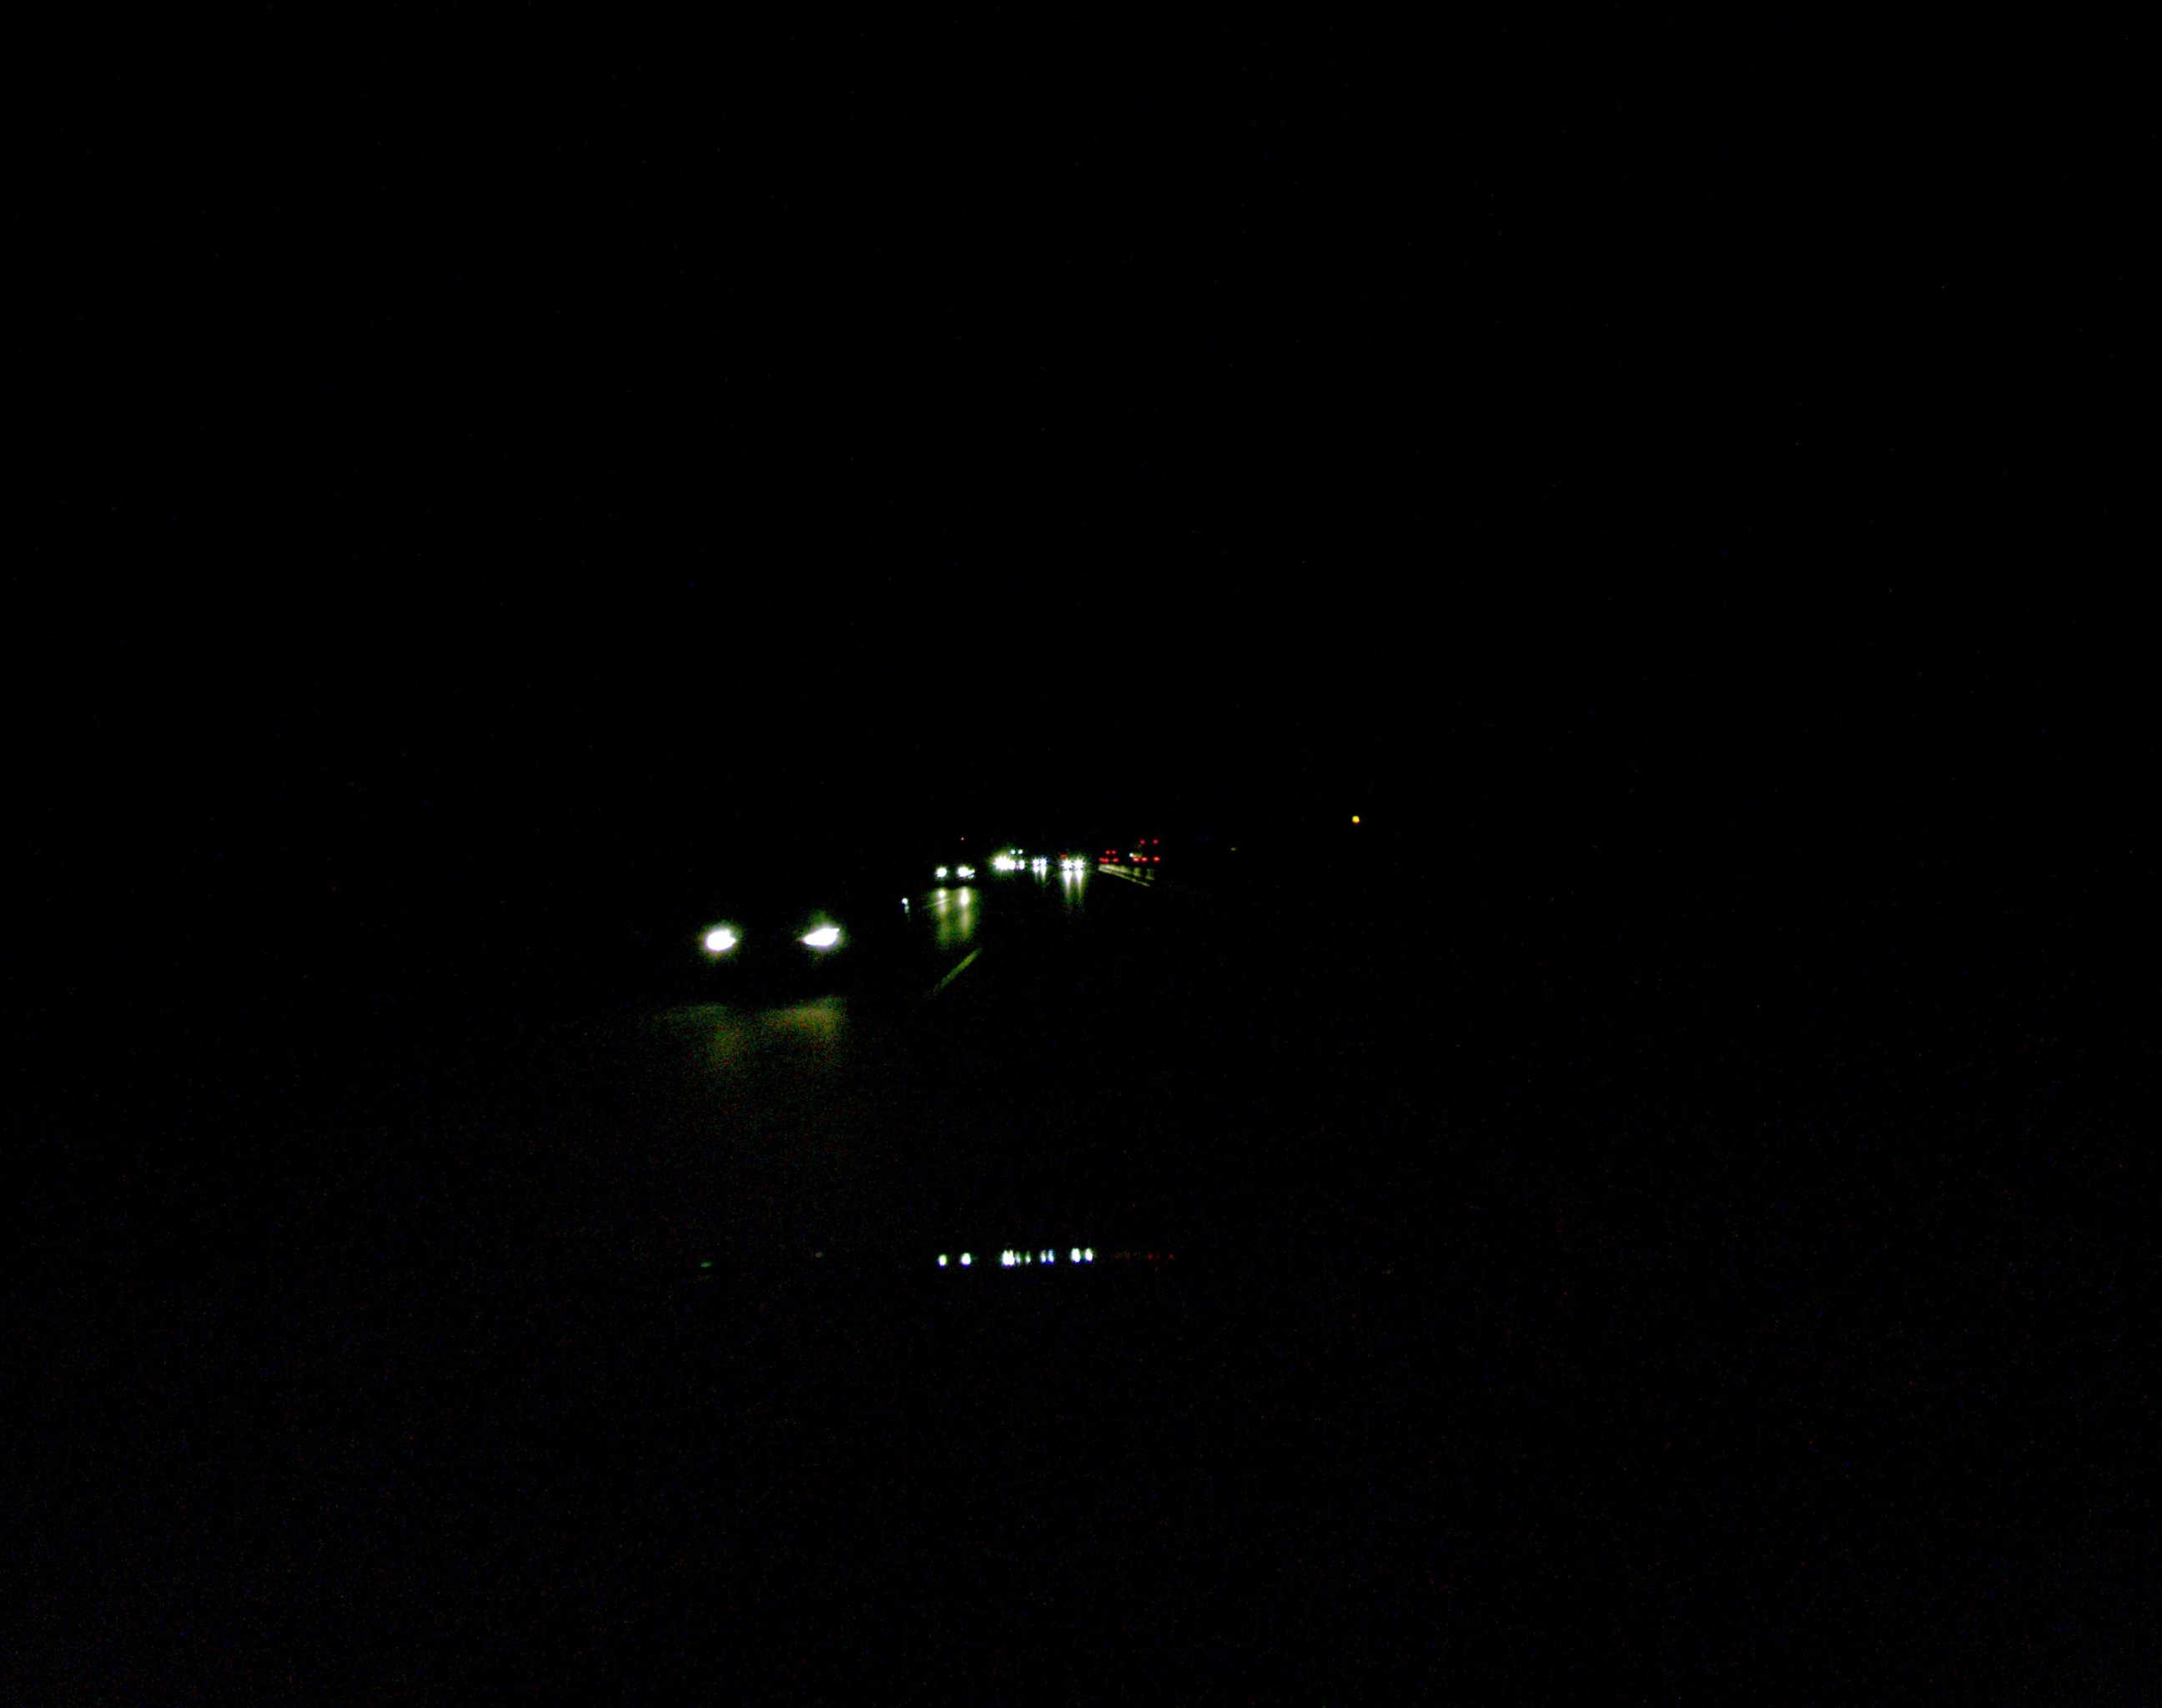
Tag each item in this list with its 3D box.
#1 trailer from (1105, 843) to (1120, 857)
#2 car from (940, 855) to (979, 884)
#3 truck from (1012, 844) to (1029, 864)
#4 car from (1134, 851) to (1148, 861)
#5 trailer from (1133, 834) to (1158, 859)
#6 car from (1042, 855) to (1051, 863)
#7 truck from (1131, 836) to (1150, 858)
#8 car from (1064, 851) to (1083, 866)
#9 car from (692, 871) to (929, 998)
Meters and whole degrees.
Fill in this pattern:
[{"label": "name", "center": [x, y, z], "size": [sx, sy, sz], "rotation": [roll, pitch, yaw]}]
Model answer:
[{"label": "trailer", "center": [8.340, -1.094, 204.914], "size": [3.065, 3.667, 11.683], "rotation": [-2, 0, -2]}, {"label": "car", "center": [-7.825, 0.983, 49.387], "size": [1.999, 1.707, 5.166], "rotation": [-2, 0, -3]}, {"label": "truck", "center": [-13.663, -0.013, 170.492], "size": [3.348, 4.407, 6.989], "rotation": [-3, 0, -7]}, {"label": "car", "center": [9.592, 0.336, 121.591], "size": [1.818, 1.444, 4.132], "rotation": [-2, 0, -2]}, {"label": "trailer", "center": [12.245, -1.376, 145.331], "size": [2.860, 4.407, 13.976], "rotation": [-2, 0, -2]}, {"label": "car", "center": [-7.160, 0.969, 157.145], "size": [1.940, 1.608, 3.999], "rotation": [-2, 0, -3]}, {"label": "truck", "center": [11.939, -1.406, 153.599], "size": [2.860, 4.407, 6.394], "rotation": [-2, 0, -2]}, {"label": "car", "center": [-0.879, 0.547, 90.140], "size": [2.011, 1.652, 4.000], "rotation": [-2, 0, 2]}, {"label": "car", "center": [-3.818, 1.043, 11.833], "size": [1.840, 1.393, 5.069], "rotation": [-2, 0, 0]}]
